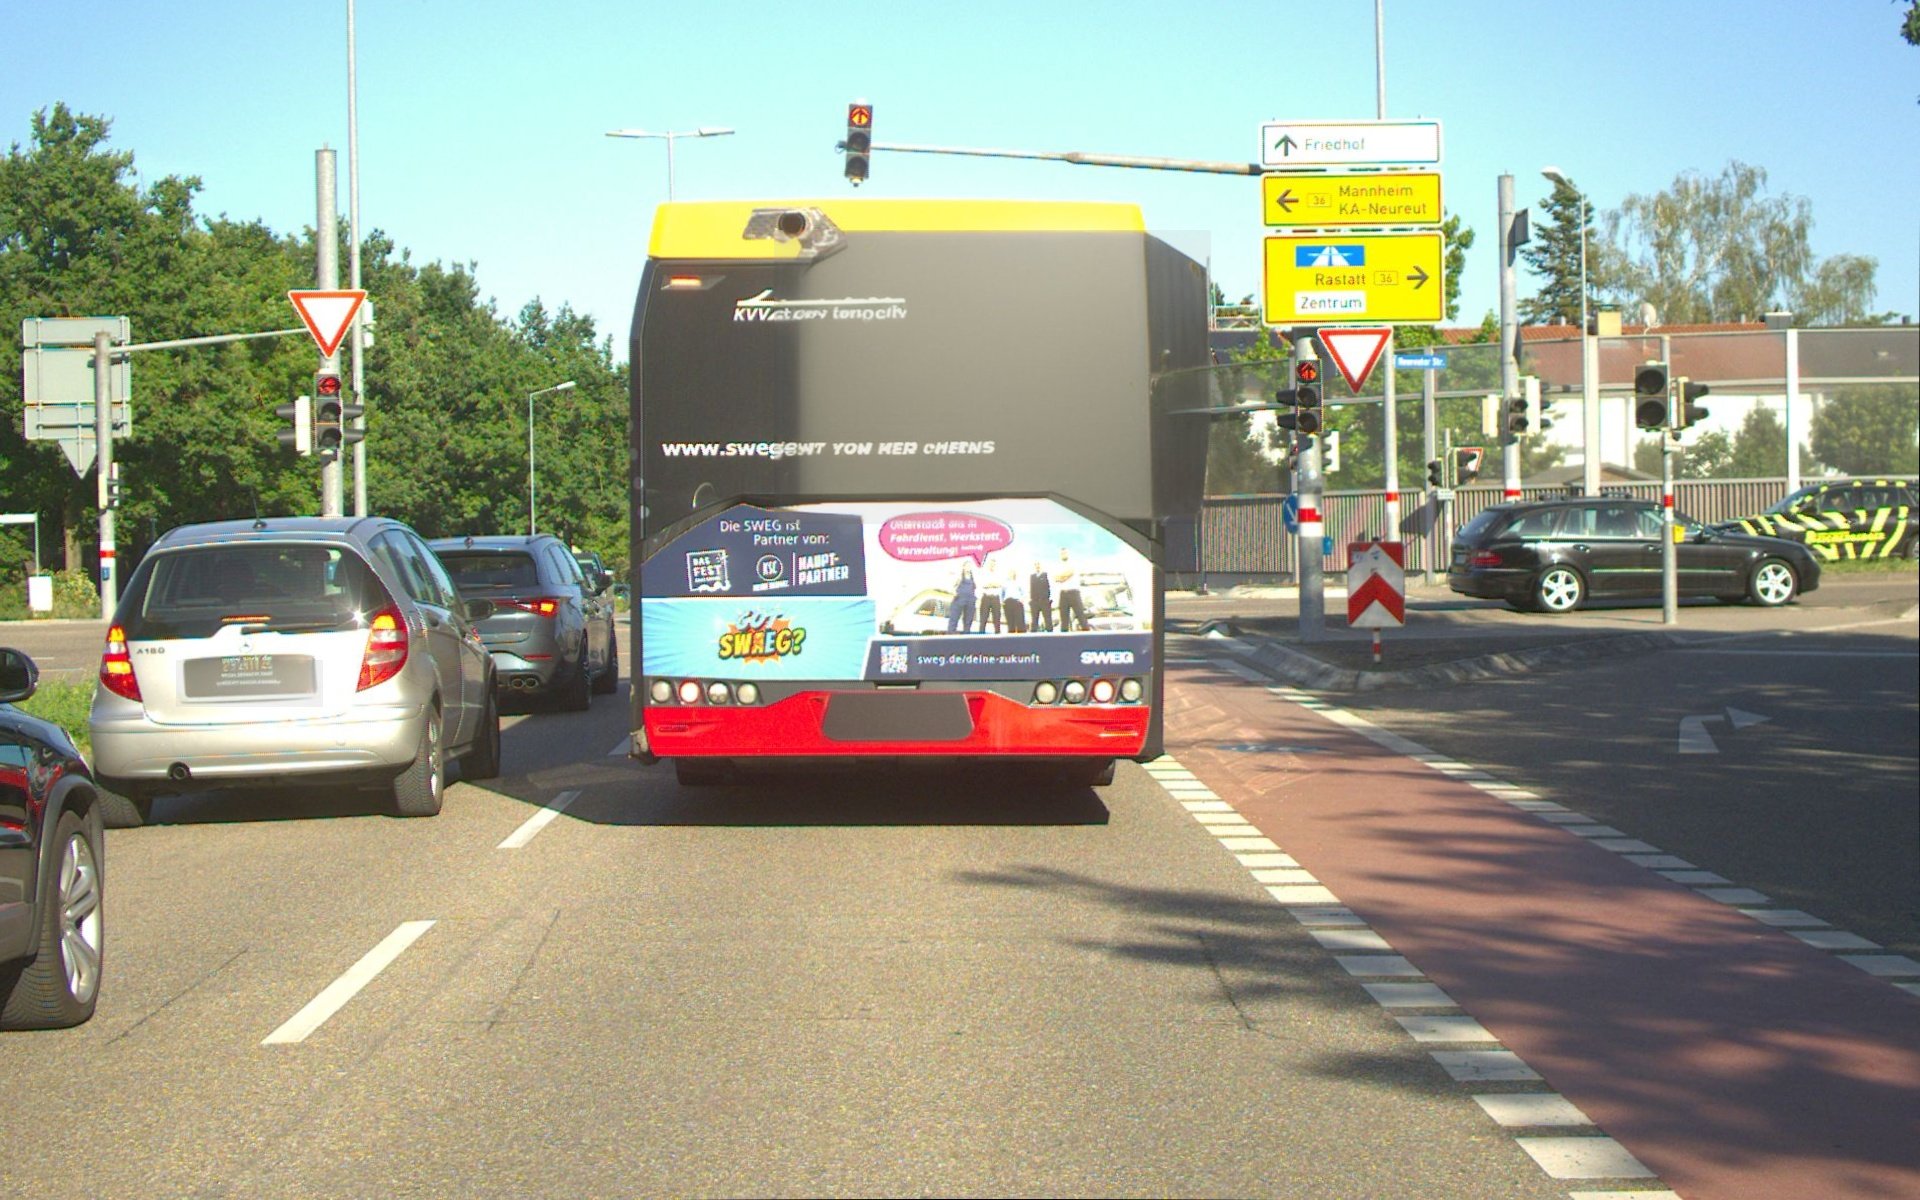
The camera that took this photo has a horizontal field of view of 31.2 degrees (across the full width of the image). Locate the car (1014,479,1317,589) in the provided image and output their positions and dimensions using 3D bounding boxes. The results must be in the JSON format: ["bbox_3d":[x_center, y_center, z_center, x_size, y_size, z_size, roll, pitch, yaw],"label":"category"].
[{"bbox_3d":[2.980,-0.957,50.443,4.220,1.557,1.764,0,0,-5],"label":"car"}]

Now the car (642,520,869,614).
[{"bbox_3d":[-3.701,-0.610,61.783,3.986,1.606,1.696,-1,1,-6],"label":"car"}]

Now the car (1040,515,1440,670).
[{"bbox_3d":[2.587,-0.083,31.390,3.523,1.297,1.574,-1,2,9],"label":"car"}]

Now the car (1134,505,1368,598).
[{"bbox_3d":[5.282,-0.895,62.716,3.986,1.606,1.696,-1,1,-6],"label":"car"}]

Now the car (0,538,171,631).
[{"bbox_3d":[-16.252,-0.282,61.437,3.986,1.606,1.696,-1,1,-6],"label":"car"}]

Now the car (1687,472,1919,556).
[{"bbox_3d":[13.859,-1.359,54.839,4.159,1.298,1.575,0,0,-3],"label":"car"}]

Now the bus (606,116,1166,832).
[{"bbox_3d":[-0.395,-0.727,21.997,2.596,3.323,11.984,0,1,0],"label":"bus"}]

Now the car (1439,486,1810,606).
[{"bbox_3d":[8.681,-0.723,45.069,4.461,1.436,1.683,-1,2,-4],"label":"car"}]

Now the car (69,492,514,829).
[{"bbox_3d":[-3.613,0.242,19.265,1.754,1.614,4.034,-1,2,-1],"label":"car"}]

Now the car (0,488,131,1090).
[{"bbox_3d":[-3.586,0.555,9.067,1.821,1.668,4.003,-2,0,-1],"label":"car"}]

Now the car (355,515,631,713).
[{"bbox_3d":[-3.741,0.085,28.056,1.588,1.480,3.682,-1,1,2],"label":"car"}]
